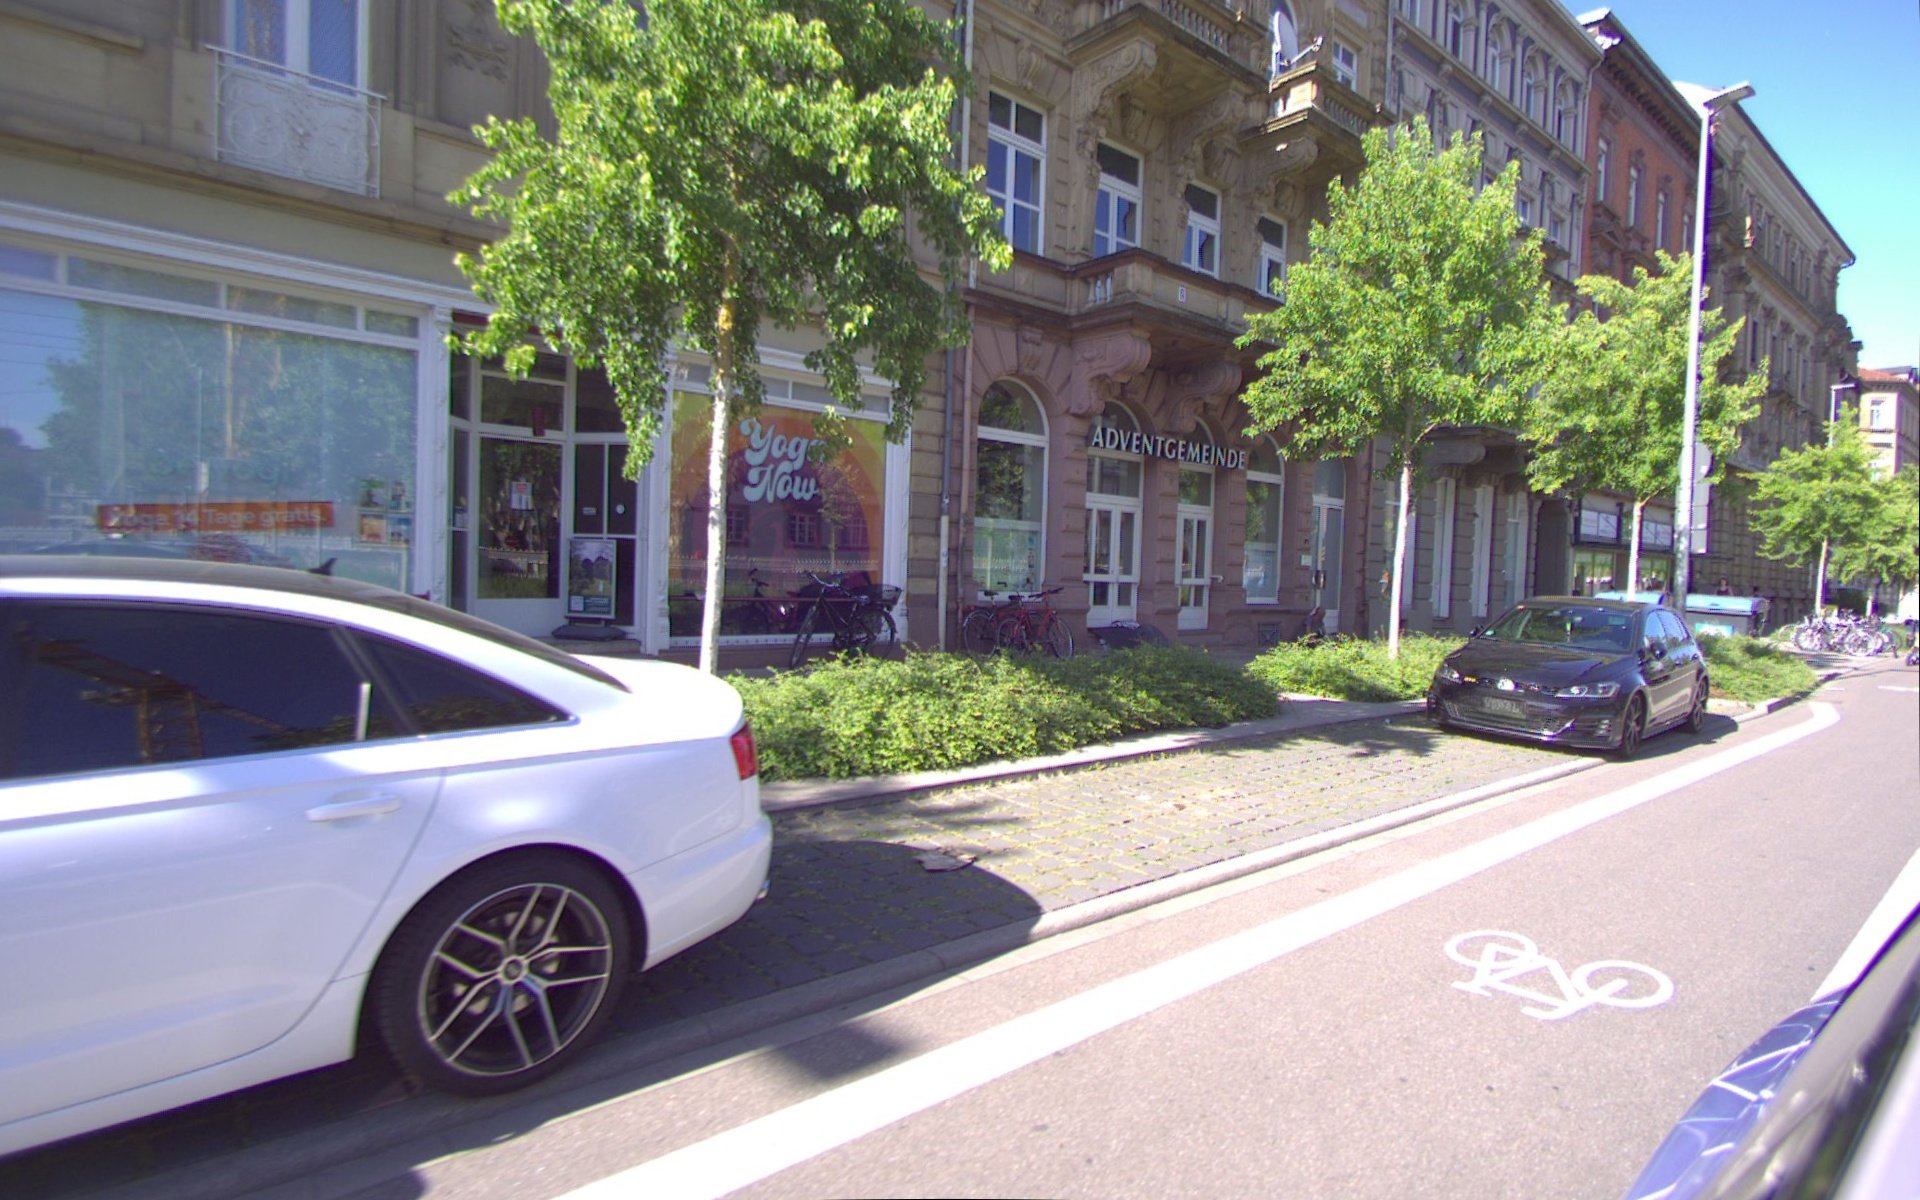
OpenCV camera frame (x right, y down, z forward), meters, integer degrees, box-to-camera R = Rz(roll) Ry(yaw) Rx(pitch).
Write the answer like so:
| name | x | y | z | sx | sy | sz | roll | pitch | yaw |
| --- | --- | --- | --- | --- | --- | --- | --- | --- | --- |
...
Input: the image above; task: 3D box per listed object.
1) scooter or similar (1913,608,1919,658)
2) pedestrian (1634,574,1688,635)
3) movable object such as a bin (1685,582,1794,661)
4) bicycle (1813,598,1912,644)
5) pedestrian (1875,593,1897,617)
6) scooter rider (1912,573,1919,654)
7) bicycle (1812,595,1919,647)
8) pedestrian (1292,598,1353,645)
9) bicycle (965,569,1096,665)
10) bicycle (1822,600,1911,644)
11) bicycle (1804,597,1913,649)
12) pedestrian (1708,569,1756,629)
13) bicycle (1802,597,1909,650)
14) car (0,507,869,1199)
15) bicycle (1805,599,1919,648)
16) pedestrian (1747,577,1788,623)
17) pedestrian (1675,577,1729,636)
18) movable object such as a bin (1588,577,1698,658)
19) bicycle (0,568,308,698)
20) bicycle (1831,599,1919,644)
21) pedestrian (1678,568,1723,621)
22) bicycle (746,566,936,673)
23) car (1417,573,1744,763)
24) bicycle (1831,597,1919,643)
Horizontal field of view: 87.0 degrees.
| name | x | y | z | sx | sy | sz | roll | pitch | yaw |
| --- | --- | --- | --- | --- | --- | --- | --- | --- | --- |
| scooter or similar | 22.963 | 0.779 | 23.842 | 1.131 | 1.172 | 0.646 | 0 | 1 | -42 |
| pedestrian | 19.809 | 0.118 | 28.605 | 0.975 | 1.659 | 0.973 | 2 | 2 | -40 |
| movable object such as a bin | 15.380 | 0.423 | 19.977 | 1.612 | 1.482 | 1.275 | 3 | -1 | -36 |
| bicycle | 25.302 | 0.575 | 28.397 | 0.428 | 1.121 | 1.981 | 0 | 4 | -42 |
| pedestrian | 48.661 | 0.251 | 53.157 | 0.866 | 1.197 | 0.719 | -1 | 3 | -41 |
| scooter rider | 22.921 | 0.321 | 23.794 | 0.882 | 1.890 | 0.662 | 0 | 1 | -41 |
| bicycle | 24.367 | 0.551 | 27.202 | 2.142 | 1.168 | 0.424 | 7 | 5 | 37 |
| pedestrian | 6.894 | 0.399 | 19.230 | 0.867 | 0.828 | 0.968 | 1 | 1 | 36 |
| bicycle | 0.991 | 0.205 | 14.040 | 1.769 | 1.215 | 0.749 | -1 | 4 | -41 |
| bicycle | 25.585 | 0.606 | 28.585 | 1.816 | 1.068 | 0.562 | 5 | 4 | 45 |
| bicycle | 23.529 | 0.579 | 26.545 | 2.045 | 1.120 | 0.601 | 7 | 5 | 44 |
| pedestrian | 26.382 | -0.042 | 34.582 | 1.077 | 1.943 | 0.893 | 0 | 4 | -35 |
| bicycle | 23.229 | 0.587 | 26.278 | 0.474 | 1.137 | 1.977 | 1 | 5 | -45 |
| car | -2.870 | 0.509 | 2.608 | 5.015 | 1.513 | 1.956 | 0 | 4 | -40 |
| bicycle | 24.531 | 0.622 | 27.533 | 2.279 | 1.115 | 0.480 | 5 | 4 | 36 |
| pedestrian | 31.142 | -0.014 | 39.022 | 1.094 | 1.712 | 0.972 | 0 | 4 | -41 |
| pedestrian | 21.012 | 0.178 | 28.644 | 1.061 | 1.586 | 0.952 | 2 | 2 | -41 |
| movable object such as a bin | 14.233 | 0.332 | 21.098 | 1.718 | 1.513 | 1.377 | -1 | 5 | -39 |
| bicycle | -6.497 | 0.238 | 8.217 | 1.977 | 0.957 | 0.448 | 0 | 1 | -41 |
| bicycle | 26.706 | 0.604 | 29.499 | 0.509 | 1.122 | 1.893 | -1 | 4 | -45 |
| pedestrian | 25.842 | -0.179 | 35.313 | 0.885 | 1.756 | 0.851 | 1 | 5 | -32 |
| bicycle | -1.402 | 0.199 | 12.209 | 2.145 | 1.118 | 0.877 | 0 | 5 | -43 |
| car | 6.666 | 0.525 | 10.662 | 4.374 | 1.494 | 1.769 | -1 | 5 | -43 |
| bicycle | 26.458 | 0.549 | 29.254 | 0.367 | 1.193 | 1.869 | 0 | 3 | -42 |
